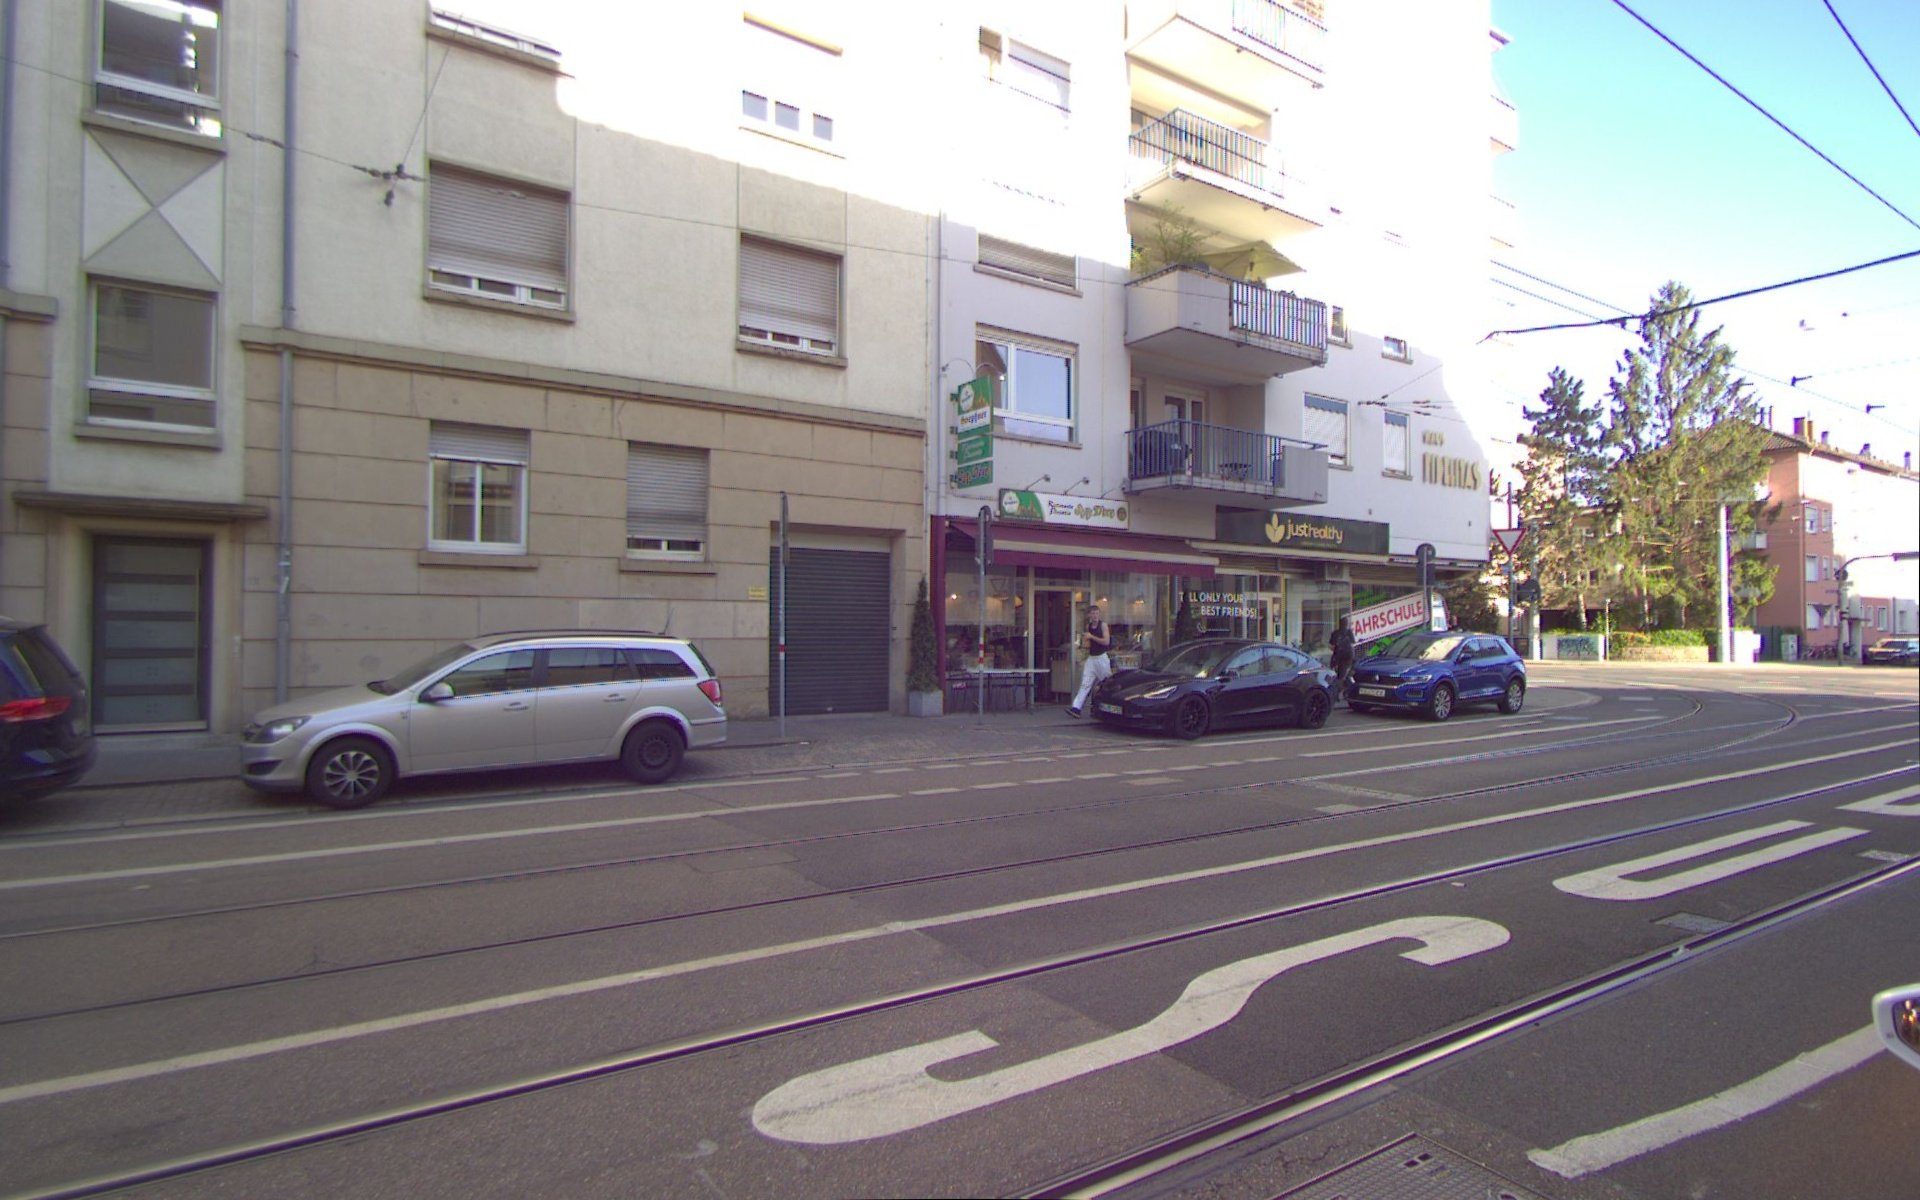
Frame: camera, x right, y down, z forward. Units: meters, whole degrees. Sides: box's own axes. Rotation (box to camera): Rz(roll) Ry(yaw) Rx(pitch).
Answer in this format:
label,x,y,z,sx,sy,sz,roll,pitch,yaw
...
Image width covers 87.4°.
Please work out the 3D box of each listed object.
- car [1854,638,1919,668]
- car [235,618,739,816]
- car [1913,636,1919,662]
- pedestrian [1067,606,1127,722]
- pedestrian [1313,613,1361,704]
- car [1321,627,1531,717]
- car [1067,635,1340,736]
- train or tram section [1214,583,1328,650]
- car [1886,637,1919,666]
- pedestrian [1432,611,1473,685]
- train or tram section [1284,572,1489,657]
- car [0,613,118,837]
label,x,y,z,sx,sy,sz,roll,pitch,yaw
car,49.632,2.829,53.584,3.949,1.440,1.784,2,0,-31
car,-4.698,1.037,10.316,4.319,1.580,1.981,2,0,-34
car,58.307,2.961,59.416,4.103,1.531,1.778,2,0,-31
pedestrian,2.261,1.039,16.566,0.725,1.857,0.595,2,0,-30
pedestrian,7.763,1.193,20.701,0.691,1.829,0.568,2,0,-30
car,8.926,1.296,19.166,4.030,1.552,1.858,1,-2,-34
car,3.976,1.276,16.141,4.382,1.405,1.810,1,-2,-34
train or tram section,18.690,0.937,61.098,2.783,3.679,9.069,1,0,-9
car,54.377,2.918,56.804,4.250,1.518,1.806,2,0,-30
pedestrian,14.057,1.358,28.668,0.688,2.040,0.764,2,0,-35
train or tram section,20.478,0.810,49.676,3.017,3.641,12.611,1,-2,-10
car,-9.012,0.894,7.271,4.249,1.606,1.893,2,0,-35
